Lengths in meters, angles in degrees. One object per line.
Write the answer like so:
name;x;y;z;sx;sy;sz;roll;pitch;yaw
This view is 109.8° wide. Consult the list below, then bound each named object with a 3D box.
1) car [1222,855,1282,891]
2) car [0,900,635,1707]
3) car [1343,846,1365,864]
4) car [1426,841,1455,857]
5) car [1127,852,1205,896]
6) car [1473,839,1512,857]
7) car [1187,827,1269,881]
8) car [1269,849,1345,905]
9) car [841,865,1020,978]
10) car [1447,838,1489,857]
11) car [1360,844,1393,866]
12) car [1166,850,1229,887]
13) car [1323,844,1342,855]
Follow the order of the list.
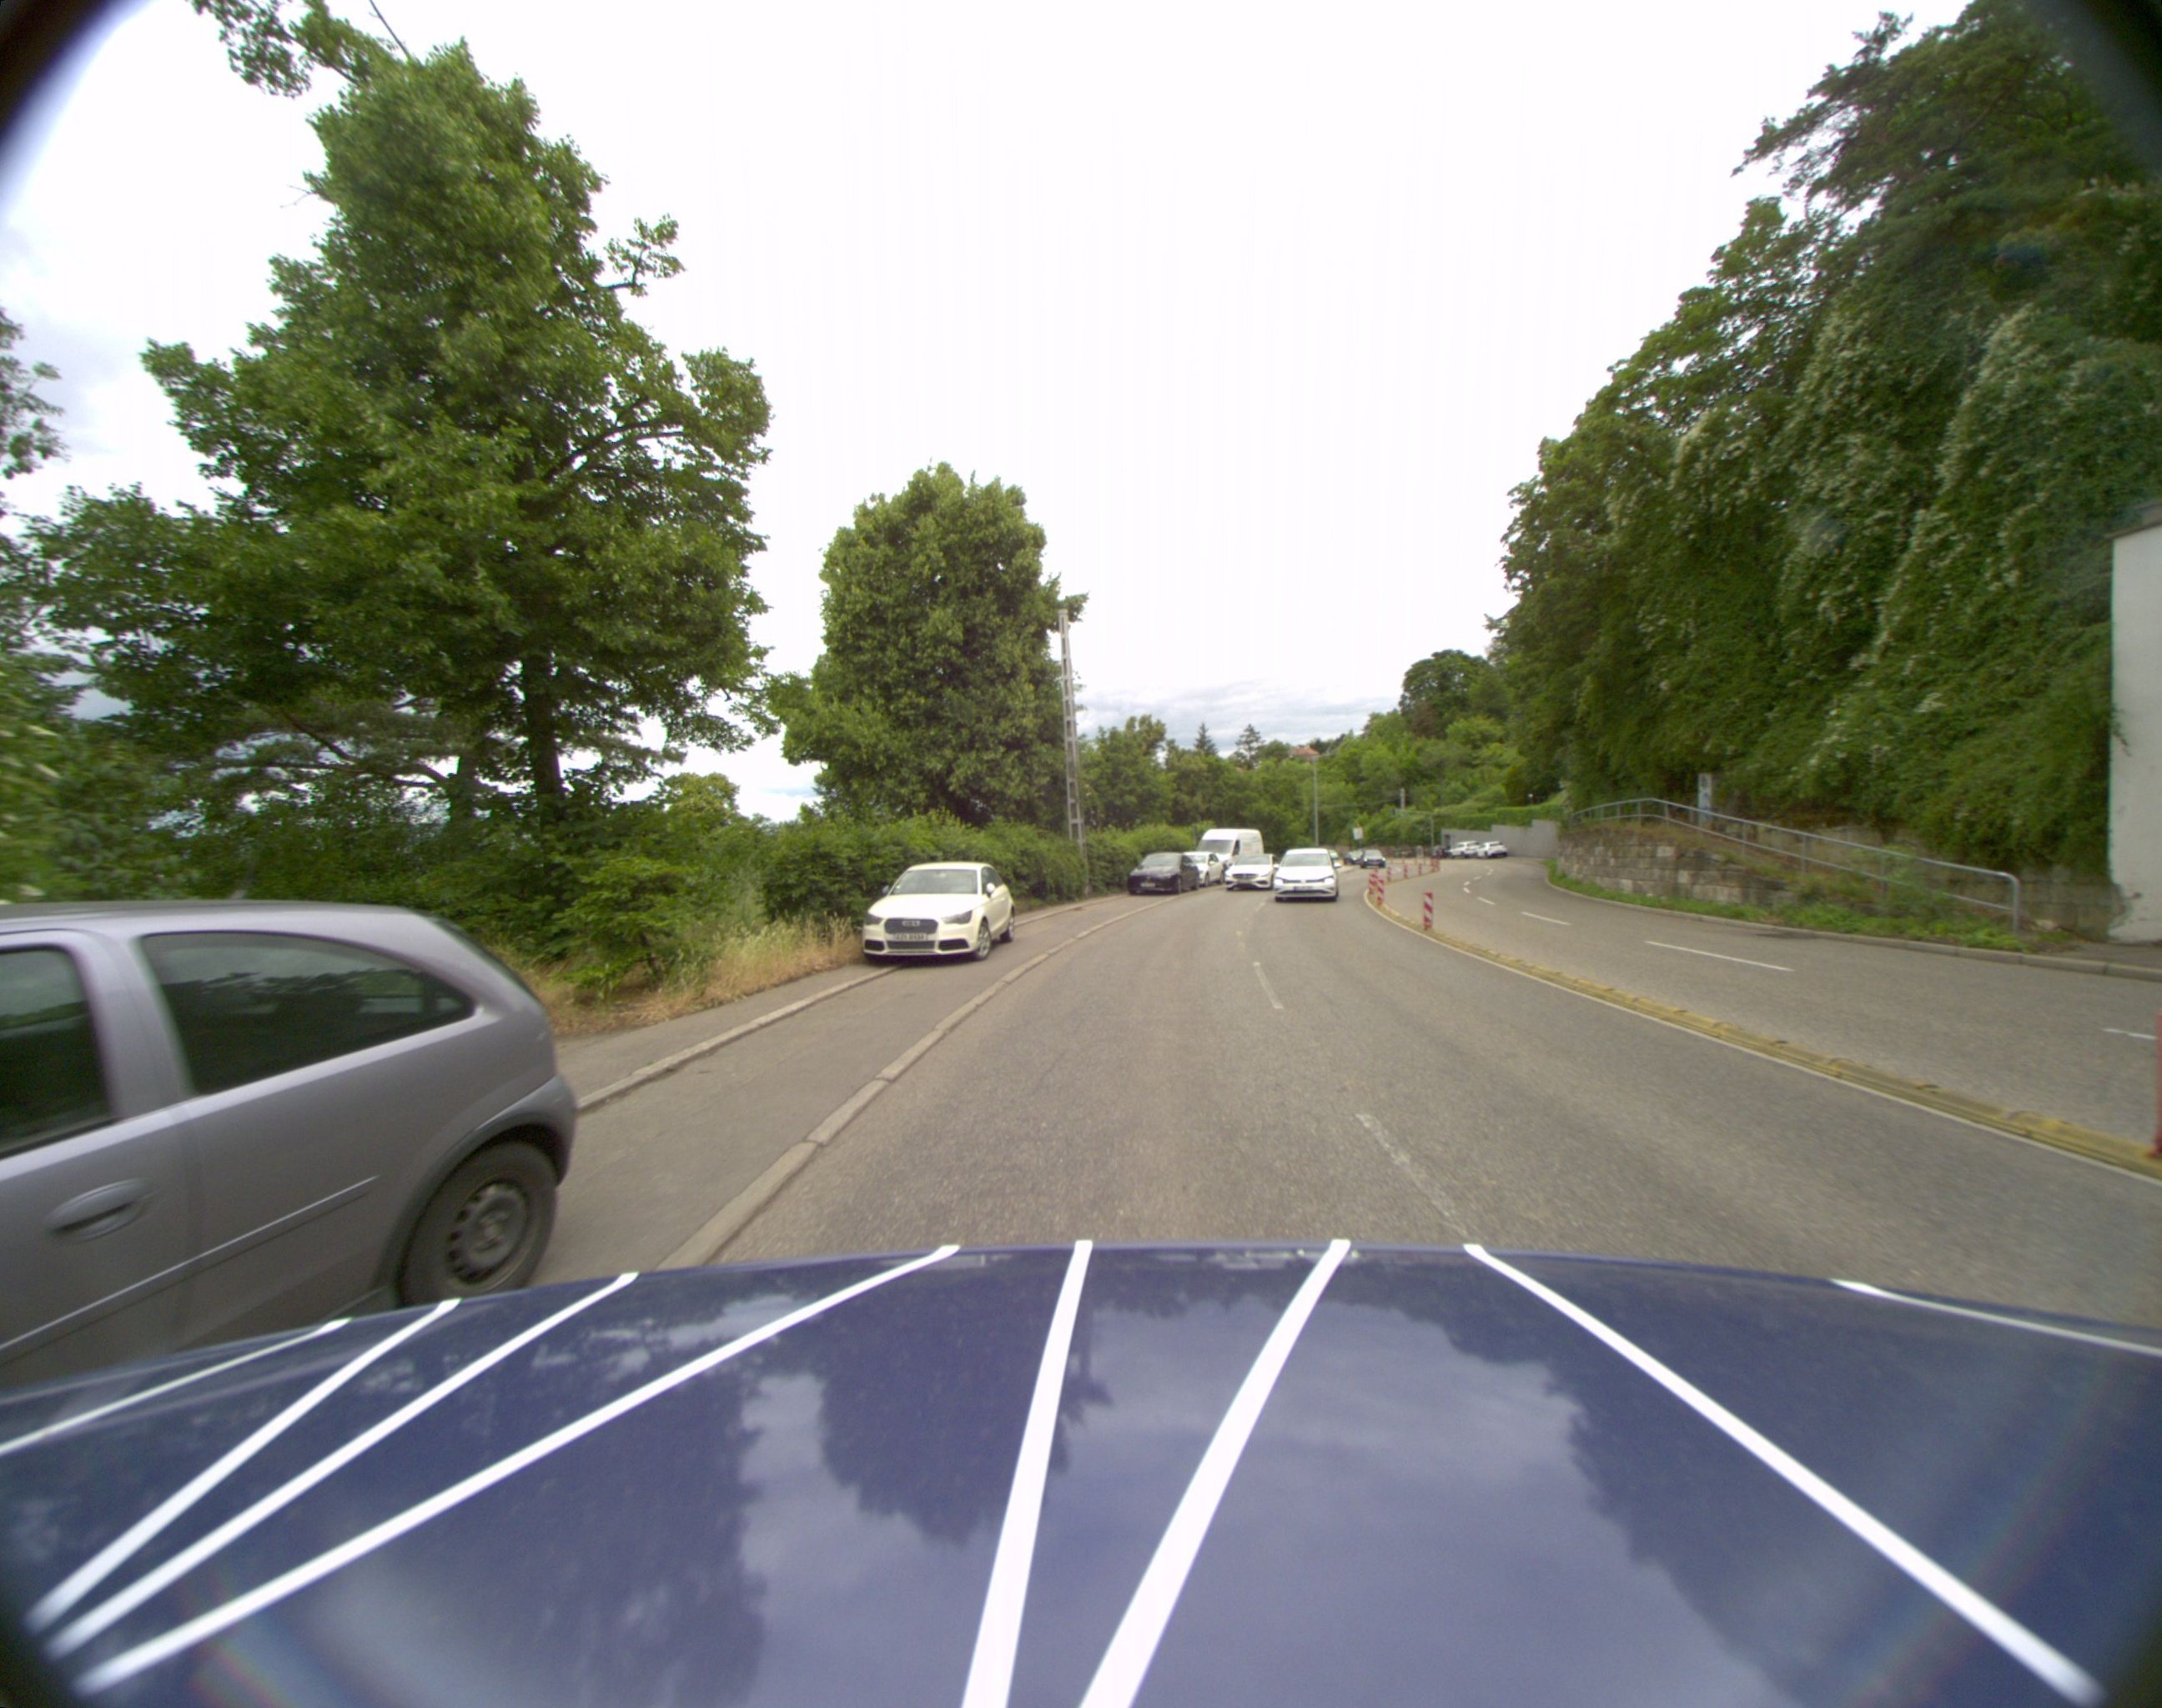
car;6.950;0.726;30.607;1.795;1.299;4.106;-2;0;20
car;-2.890;0.978;1.155;1.644;1.455;4.002;-3;1;7
car;30.070;0.112;83.710;1.996;1.696;4.004;-4;0;18
car;39.505;-0.553;83.511;1.715;1.563;2.958;-6;-1;1
car;3.236;0.678;27.932;1.702;1.455;4.670;-1;0;21
car;39.238;-0.609;72.634;1.836;1.563;4.477;-4;0;9
car;7.510;-0.042;38.300;2.085;2.509;5.855;1;2;32
car;7.078;0.644;23.526;1.882;1.569;4.006;0;1;22
car;-2.172;0.927;12.099;1.781;1.410;4.001;0;1;4
car;39.841;-0.673;78.316;1.863;1.721;4.762;-5;0;2
car;26.212;0.092;67.266;1.995;1.696;4.006;-4;1;31
car;5.096;0.568;32.830;1.702;1.455;3.841;0;1;24
car;37.922;-0.684;114.798;1.715;1.458;3.661;-4;0;3
